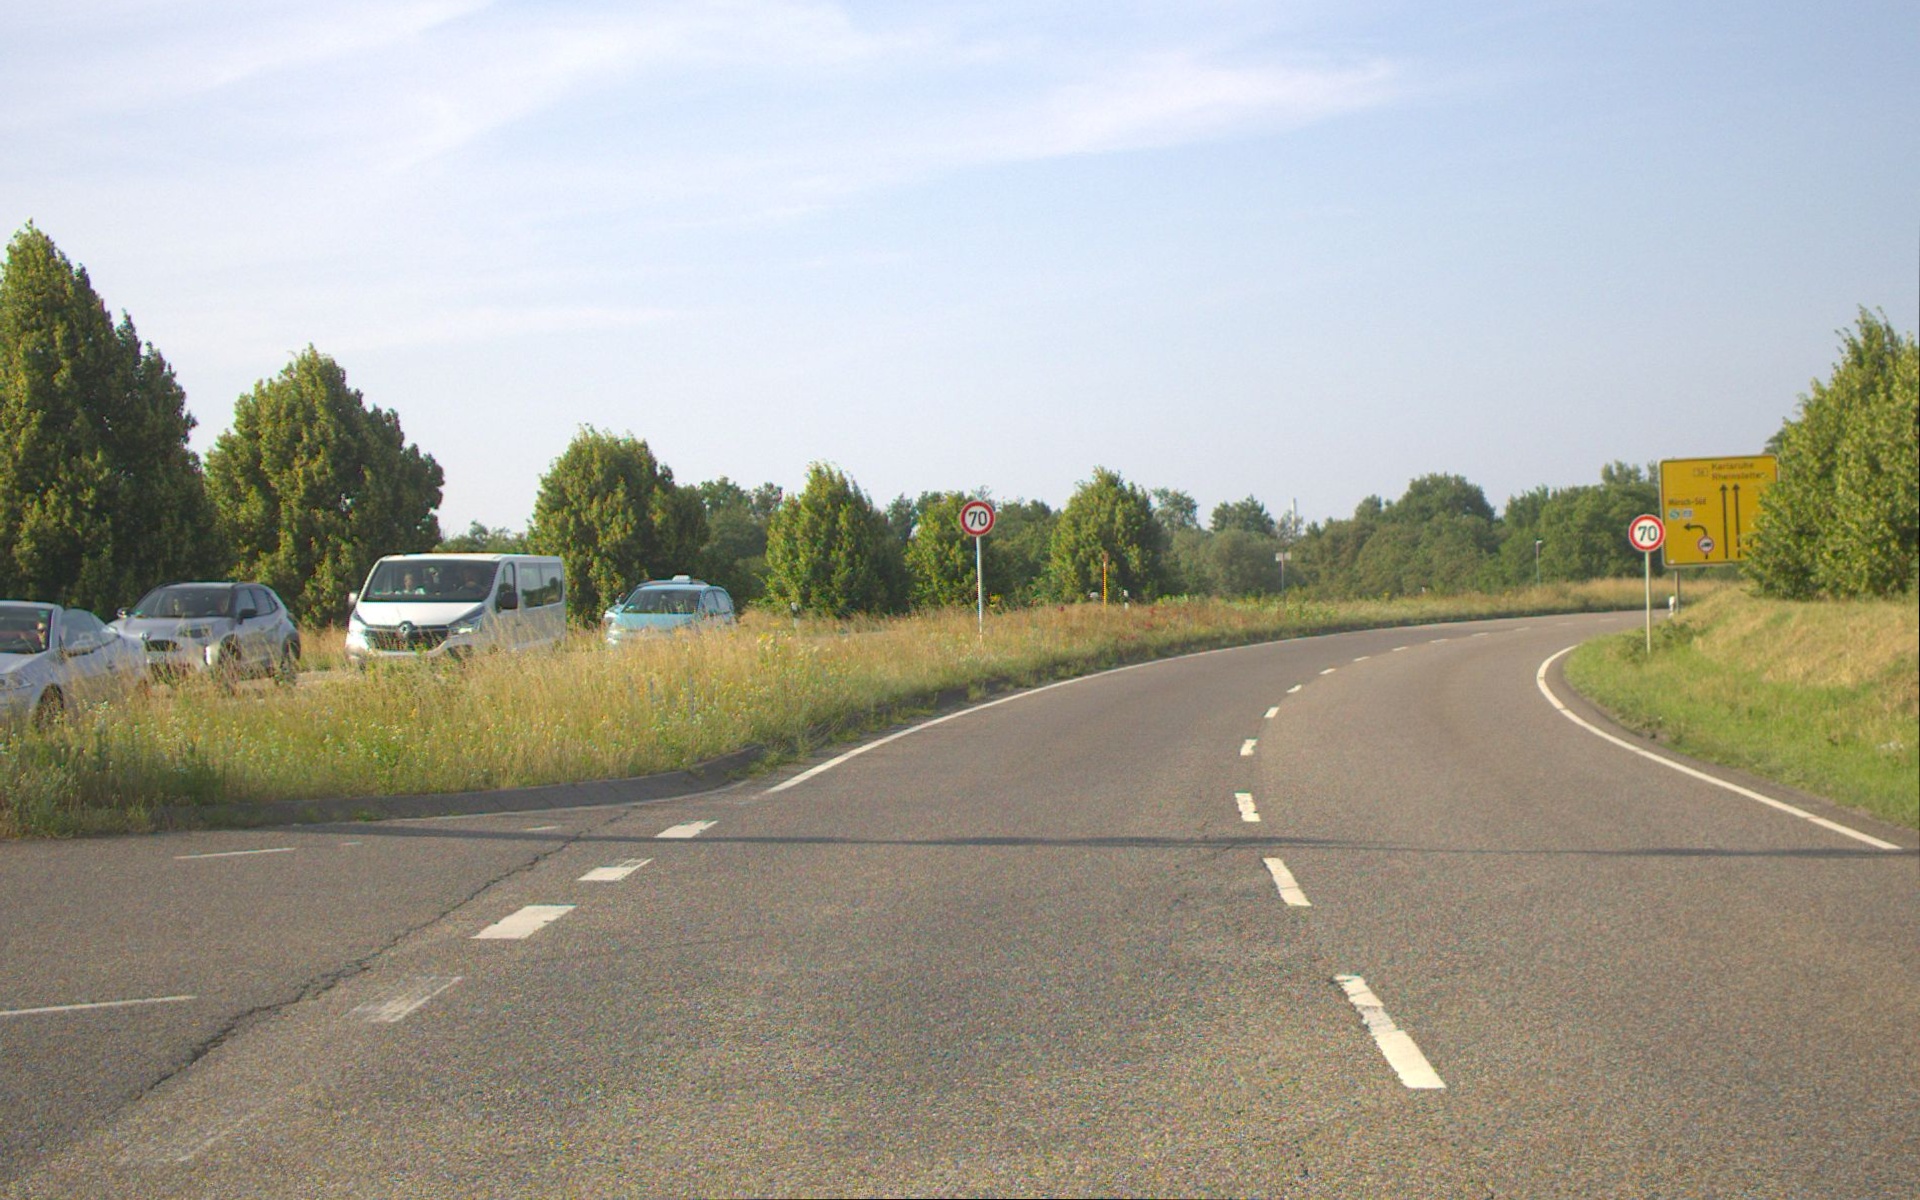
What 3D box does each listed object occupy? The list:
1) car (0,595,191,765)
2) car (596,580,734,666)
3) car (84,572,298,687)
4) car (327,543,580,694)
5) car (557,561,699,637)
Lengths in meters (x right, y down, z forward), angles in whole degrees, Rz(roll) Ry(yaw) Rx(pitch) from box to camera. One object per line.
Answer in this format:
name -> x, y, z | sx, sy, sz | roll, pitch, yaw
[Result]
car -> -8.247, 0.641, 29.911 | 1.695, 1.348, 4.452 | 0, 0, 6
car -> -5.053, 0.376, 59.363 | 1.679, 1.438, 3.751 | 0, 0, 6
car -> -10.533, 0.383, 47.362 | 1.706, 1.520, 4.134 | 0, 0, 5
car -> -6.734, 0.226, 46.401 | 1.994, 1.897, 5.787 | 0, 0, 6
car -> -6.985, -0.038, 72.836 | 1.913, 1.560, 4.609 | 0, 0, 9
